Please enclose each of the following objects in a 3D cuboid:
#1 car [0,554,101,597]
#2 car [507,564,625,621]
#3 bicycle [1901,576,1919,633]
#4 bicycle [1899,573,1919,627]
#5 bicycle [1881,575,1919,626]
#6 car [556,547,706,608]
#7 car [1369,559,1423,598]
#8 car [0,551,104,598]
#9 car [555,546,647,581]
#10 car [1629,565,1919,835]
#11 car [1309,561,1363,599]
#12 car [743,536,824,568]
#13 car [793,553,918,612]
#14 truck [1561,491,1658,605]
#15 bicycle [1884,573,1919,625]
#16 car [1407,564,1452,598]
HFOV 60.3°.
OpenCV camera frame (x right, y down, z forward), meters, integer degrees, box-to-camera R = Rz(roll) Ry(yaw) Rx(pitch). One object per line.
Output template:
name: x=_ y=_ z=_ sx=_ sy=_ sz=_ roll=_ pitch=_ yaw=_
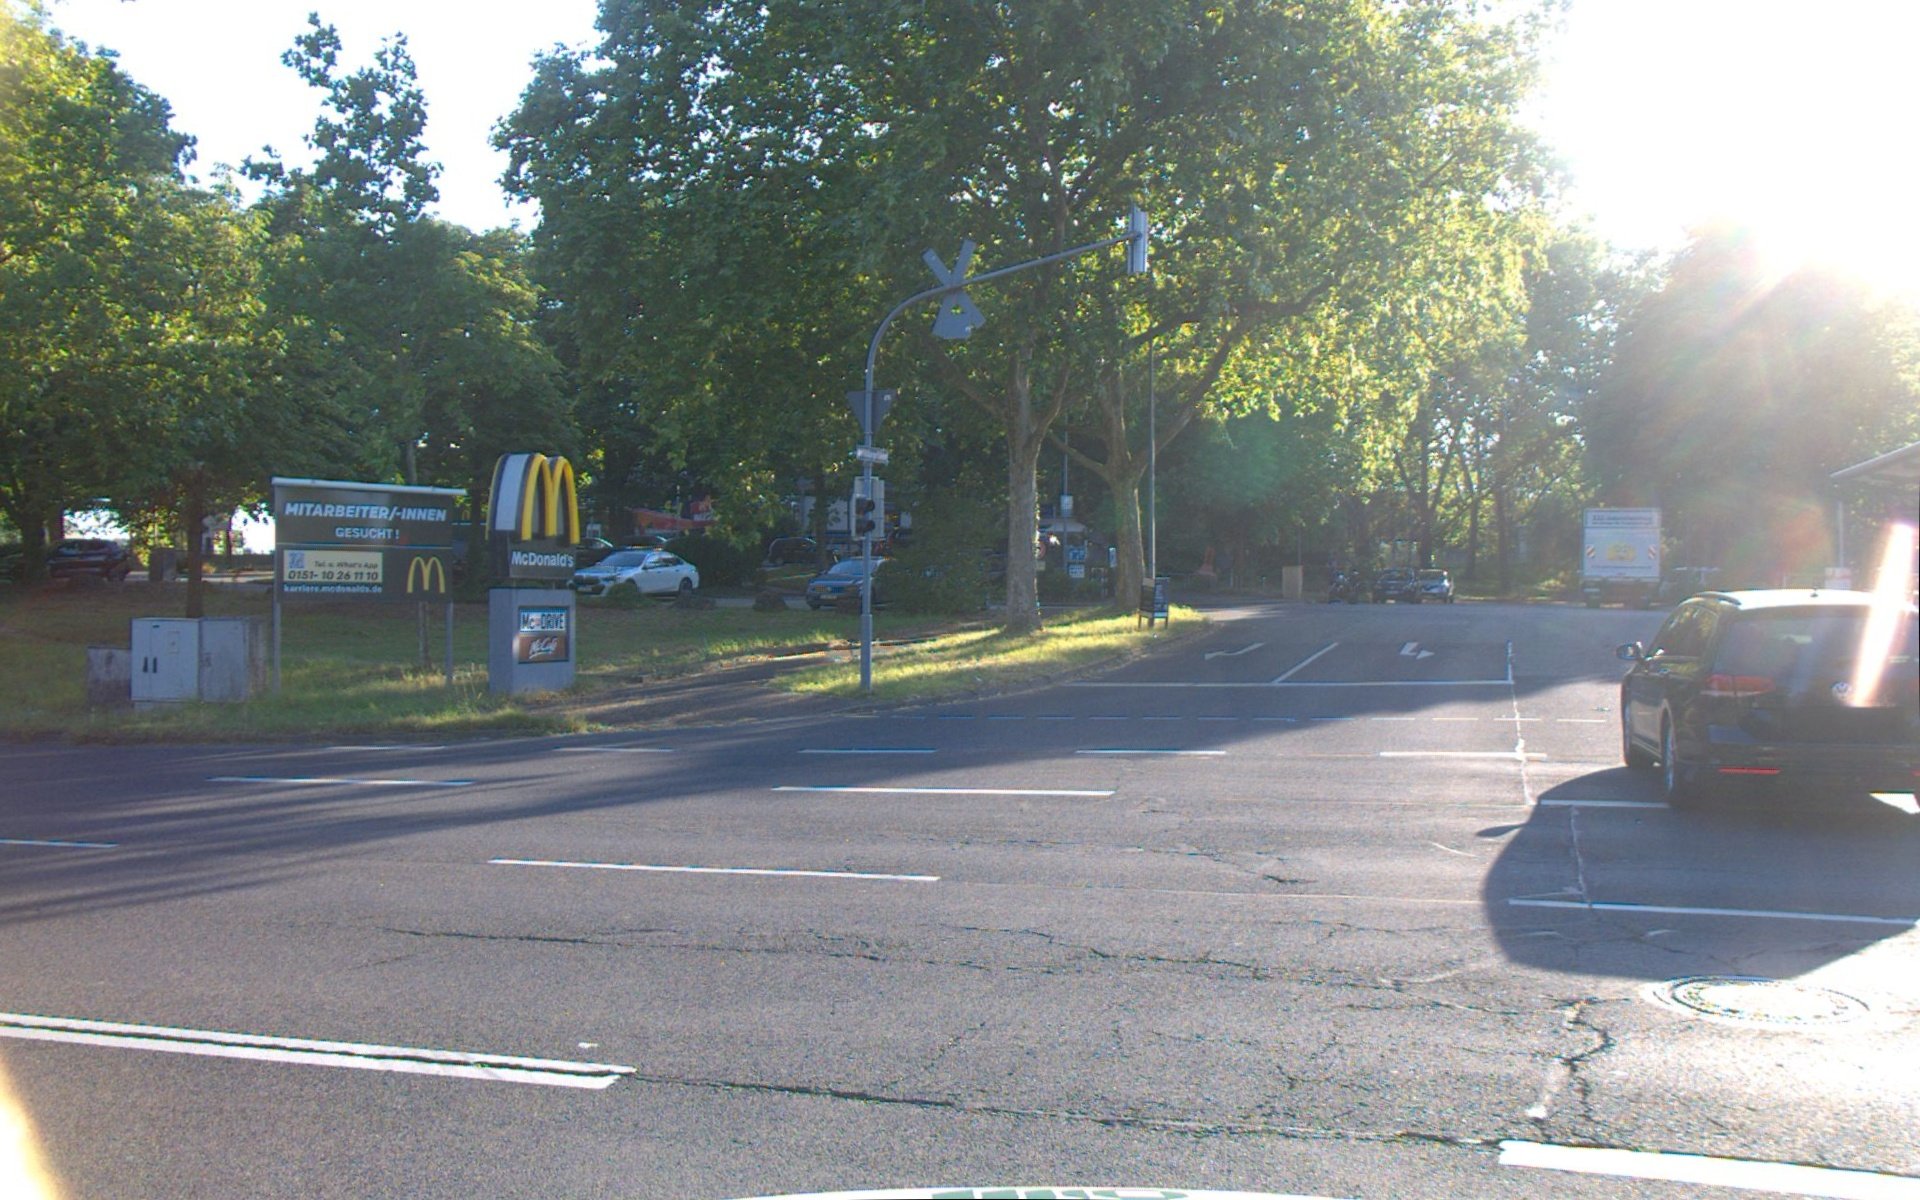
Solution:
car: x=-35.147 y=-0.944 z=62.928 sx=1.770 sy=1.579 sz=3.989 roll=0 pitch=1 yaw=33
car: x=-12.474 y=-0.256 z=52.670 sx=1.783 sy=1.717 sz=4.229 roll=-1 pitch=1 yaw=16
bicycle: x=18.570 y=0.075 z=30.703 sx=1.848 sy=1.056 sz=0.544 roll=-1 pitch=1 yaw=20
bicycle: x=19.472 y=-0.003 z=32.350 sx=1.849 sy=1.056 sz=0.544 roll=-1 pitch=1 yaw=24
bicycle: x=20.426 y=0.007 z=34.706 sx=1.849 sy=1.056 sz=0.544 roll=-1 pitch=1 yaw=24
car: x=-9.792 y=-0.702 z=49.633 sx=1.953 sy=1.736 sz=4.898 roll=0 pitch=1 yaw=24
car: x=18.191 y=-0.913 z=68.908 sx=1.807 sy=1.579 sz=4.001 roll=0 pitch=1 yaw=20
car: x=-32.215 y=-0.897 z=57.660 sx=1.766 sy=1.579 sz=3.998 roll=-1 pitch=1 yaw=24
car: x=-16.995 y=-1.721 z=78.307 sx=3.904 sy=1.579 sz=1.808 roll=-1 pitch=1 yaw=1
car: x=5.974 y=0.555 z=11.970 sx=1.786 sy=1.582 sz=4.261 roll=0 pitch=1 yaw=18
car: x=16.442 y=-0.898 z=72.243 sx=1.807 sy=1.579 sz=4.001 roll=0 pitch=1 yaw=20
car: x=-8.995 y=-2.443 z=84.484 sx=3.905 sy=1.579 sz=1.808 roll=-1 pitch=1 yaw=0
car: x=-2.907 y=-0.517 z=47.047 sx=1.994 sy=1.601 sz=4.404 roll=-1 pitch=1 yaw=19
truck: x=24.701 y=-1.919 z=62.997 sx=3.119 sy=3.943 sz=11.100 roll=0 pitch=1 yaw=21
bicycle: x=19.754 y=-0.027 z=33.399 sx=1.849 sy=1.056 sz=0.544 roll=-1 pitch=1 yaw=24
car: x=22.687 y=-0.942 z=79.819 sx=1.807 sy=1.579 sz=4.001 roll=0 pitch=1 yaw=20
